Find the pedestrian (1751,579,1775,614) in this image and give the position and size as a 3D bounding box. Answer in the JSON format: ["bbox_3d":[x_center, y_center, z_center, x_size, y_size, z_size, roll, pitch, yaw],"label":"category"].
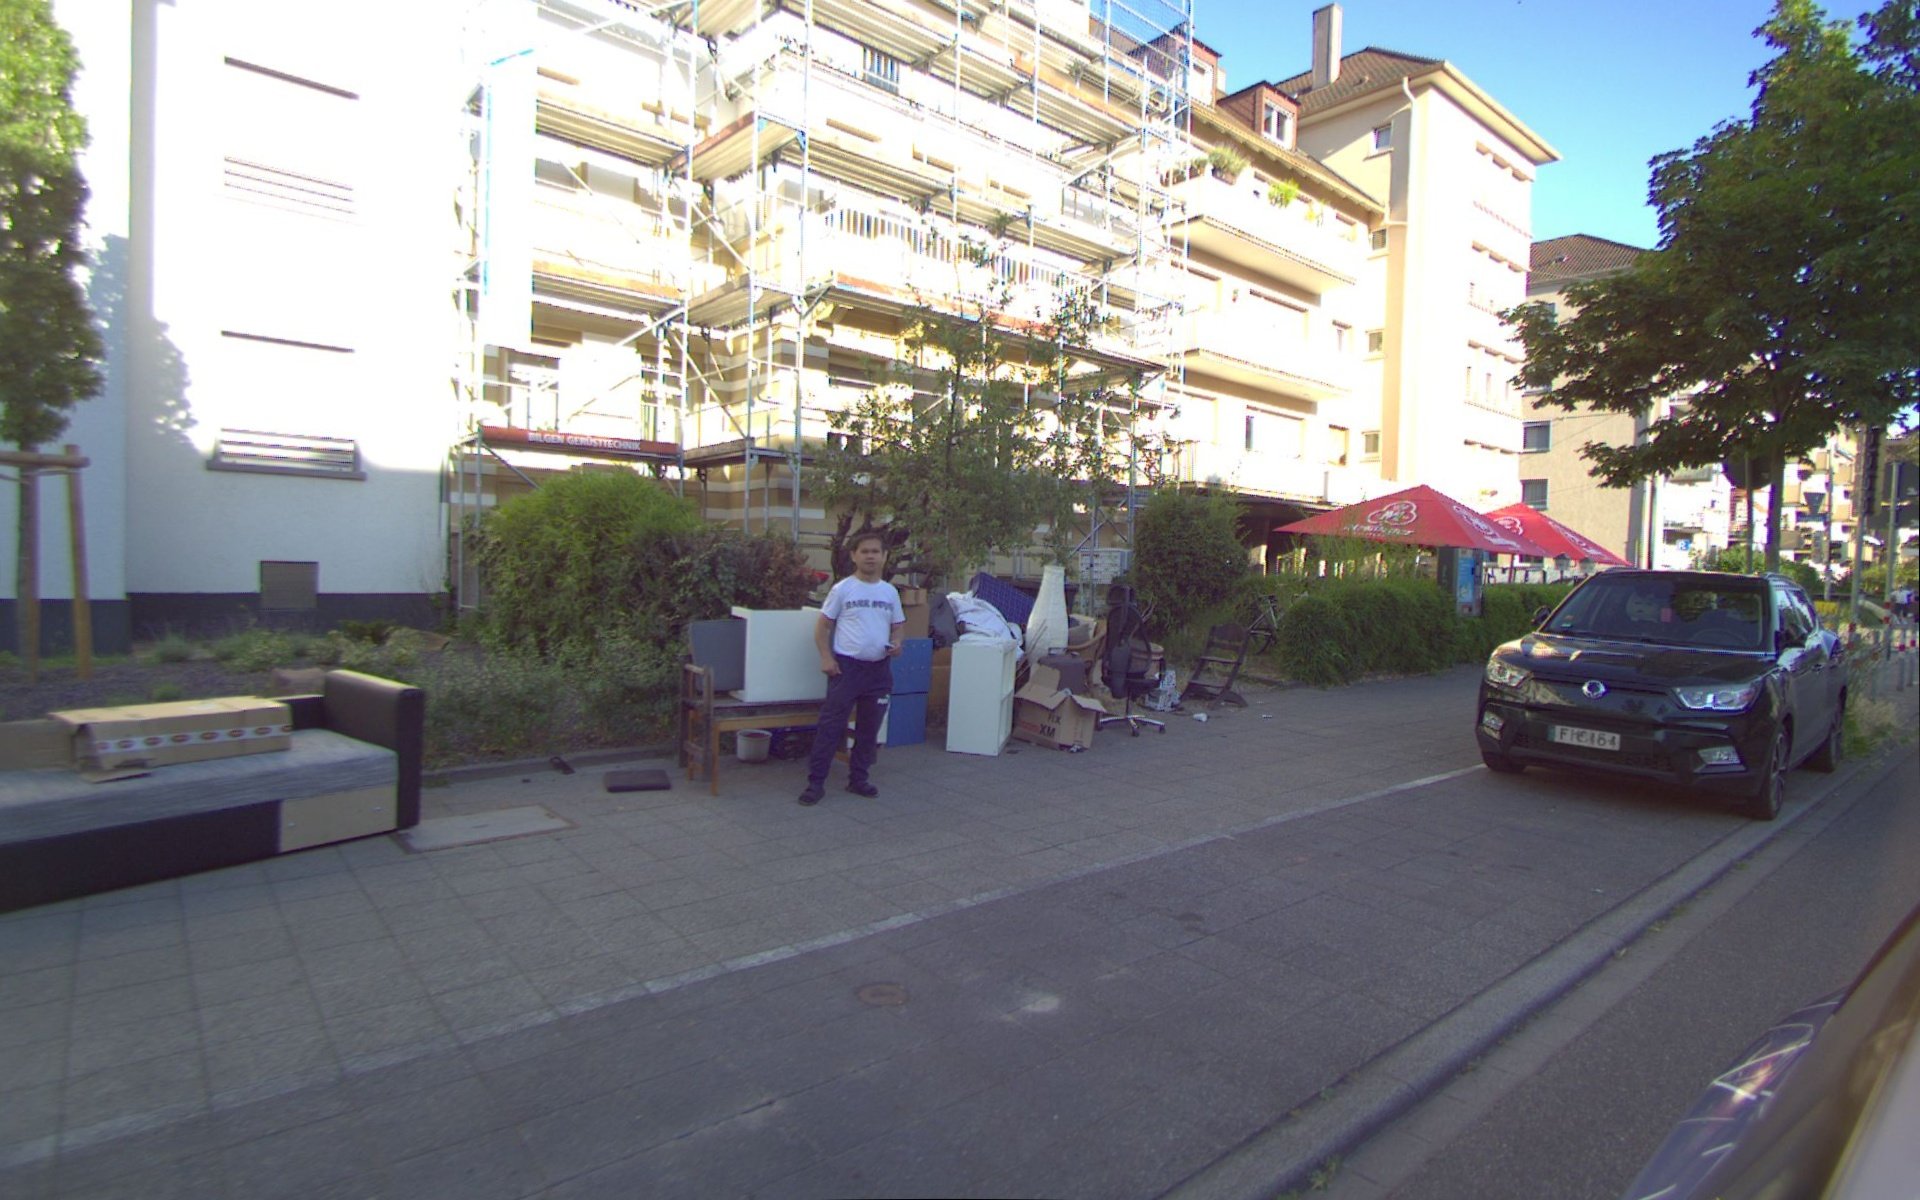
[{"bbox_3d":[32.652,-0.155,41.143,0.584,1.408,0.641,-1,2,-41],"label":"pedestrian"}]

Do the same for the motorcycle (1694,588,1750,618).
[{"bbox_3d":[30.722,0.116,40.806,0.584,1.125,1.697,-1,2,-39],"label":"motorcycle"}]

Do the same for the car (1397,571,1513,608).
[{"bbox_3d":[23.610,-0.540,48.384,1.920,1.560,4.614,-2,4,-42],"label":"car"}]

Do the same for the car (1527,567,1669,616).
[{"bbox_3d":[27.471,-0.438,43.684,1.920,1.888,4.836,-2,4,-42],"label":"car"}]

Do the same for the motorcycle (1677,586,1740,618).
[{"bbox_3d":[29.782,0.076,40.298,1.981,1.215,0.764,2,2,38],"label":"motorcycle"}]

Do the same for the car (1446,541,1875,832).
[{"bbox_3d":[5.553,0.447,7.829,3.960,1.652,1.795,0,4,-42],"label":"car"}]

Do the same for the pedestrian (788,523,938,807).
[{"bbox_3d":[-0.577,0.349,6.119,0.553,1.587,0.740,2,2,31],"label":"pedestrian"}]

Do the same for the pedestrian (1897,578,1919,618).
[{"bbox_3d":[41.937,-0.102,44.578,0.648,1.703,0.831,0,3,-36],"label":"pedestrian"}]
